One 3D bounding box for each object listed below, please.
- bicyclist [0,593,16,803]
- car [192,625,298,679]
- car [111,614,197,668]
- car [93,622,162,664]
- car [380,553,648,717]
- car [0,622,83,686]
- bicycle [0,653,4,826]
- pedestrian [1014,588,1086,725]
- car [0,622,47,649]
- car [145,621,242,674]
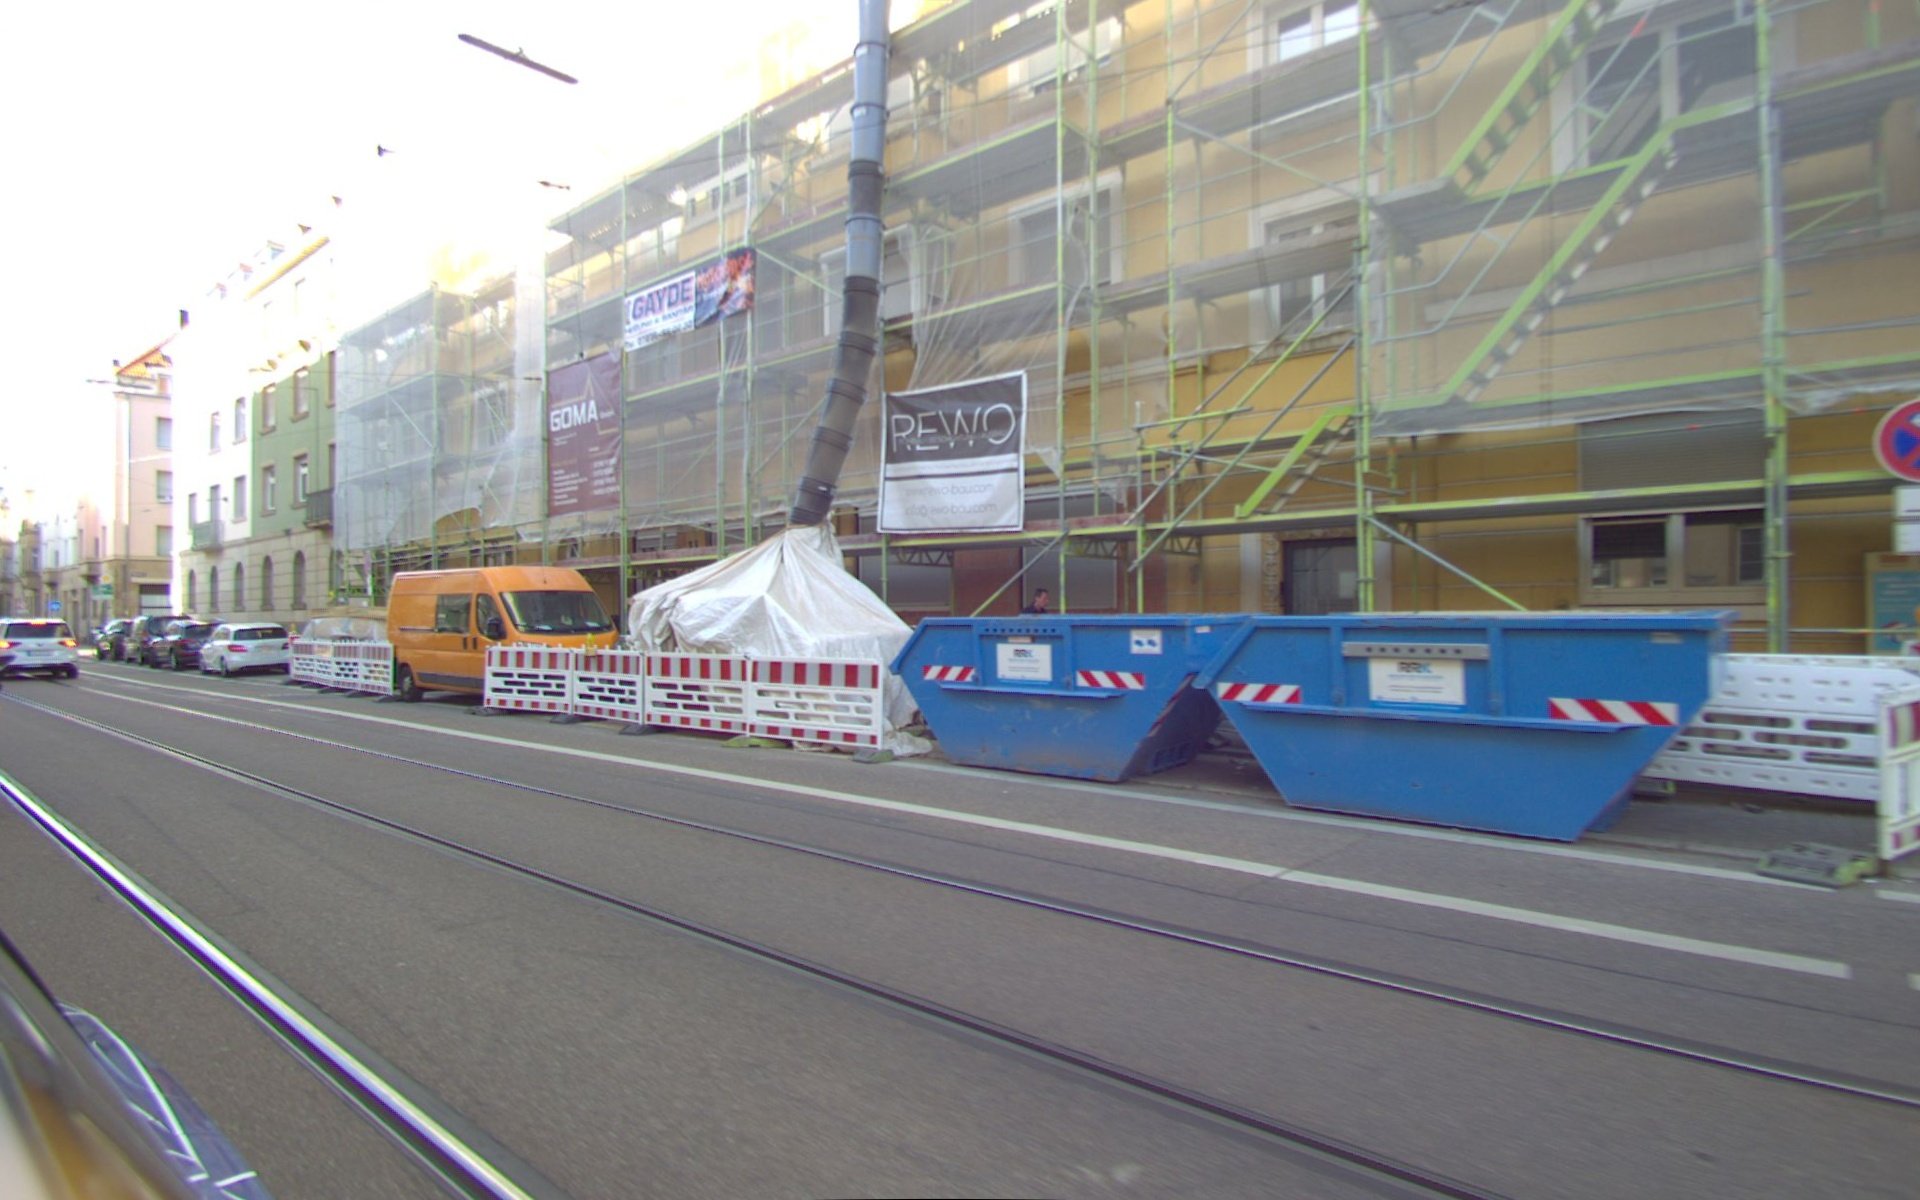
[{"bbox_3d":[-7.689,0.735,7.606,0.832,1.566,0.850,1,-2,-45],"label":"bicyclist"},{"bbox_3d":[-21.377,1.507,30.214,3.998,1.523,1.728,-2,-2,42],"label":"car"},{"bbox_3d":[-30.344,1.514,38.079,3.766,1.860,1.776,-1,1,40],"label":"car"},{"bbox_3d":[-34.084,1.733,41.391,3.770,1.622,1.774,-2,-1,44],"label":"car"},{"bbox_3d":[-8.169,0.601,18.174,5.998,2.488,2.097,-2,-2,42],"label":"car"},{"bbox_3d":[-25.764,1.428,27.824,4.197,1.580,1.803,-1,0,39],"label":"car"},{"bbox_3d":[-7.715,1.020,7.611,0.730,1.186,1.975,1,-2,-44],"label":"bicycle"},{"bbox_3d":[1.164,0.708,13.057,0.716,1.707,0.574,-2,-2,41],"label":"pedestrian"},{"bbox_3d":[-57.115,2.156,61.625,3.766,1.514,1.776,-1,1,40],"label":"car"},{"bbox_3d":[-25.877,1.558,34.130,4.220,1.590,1.681,-1,1,40],"label":"car"}]
